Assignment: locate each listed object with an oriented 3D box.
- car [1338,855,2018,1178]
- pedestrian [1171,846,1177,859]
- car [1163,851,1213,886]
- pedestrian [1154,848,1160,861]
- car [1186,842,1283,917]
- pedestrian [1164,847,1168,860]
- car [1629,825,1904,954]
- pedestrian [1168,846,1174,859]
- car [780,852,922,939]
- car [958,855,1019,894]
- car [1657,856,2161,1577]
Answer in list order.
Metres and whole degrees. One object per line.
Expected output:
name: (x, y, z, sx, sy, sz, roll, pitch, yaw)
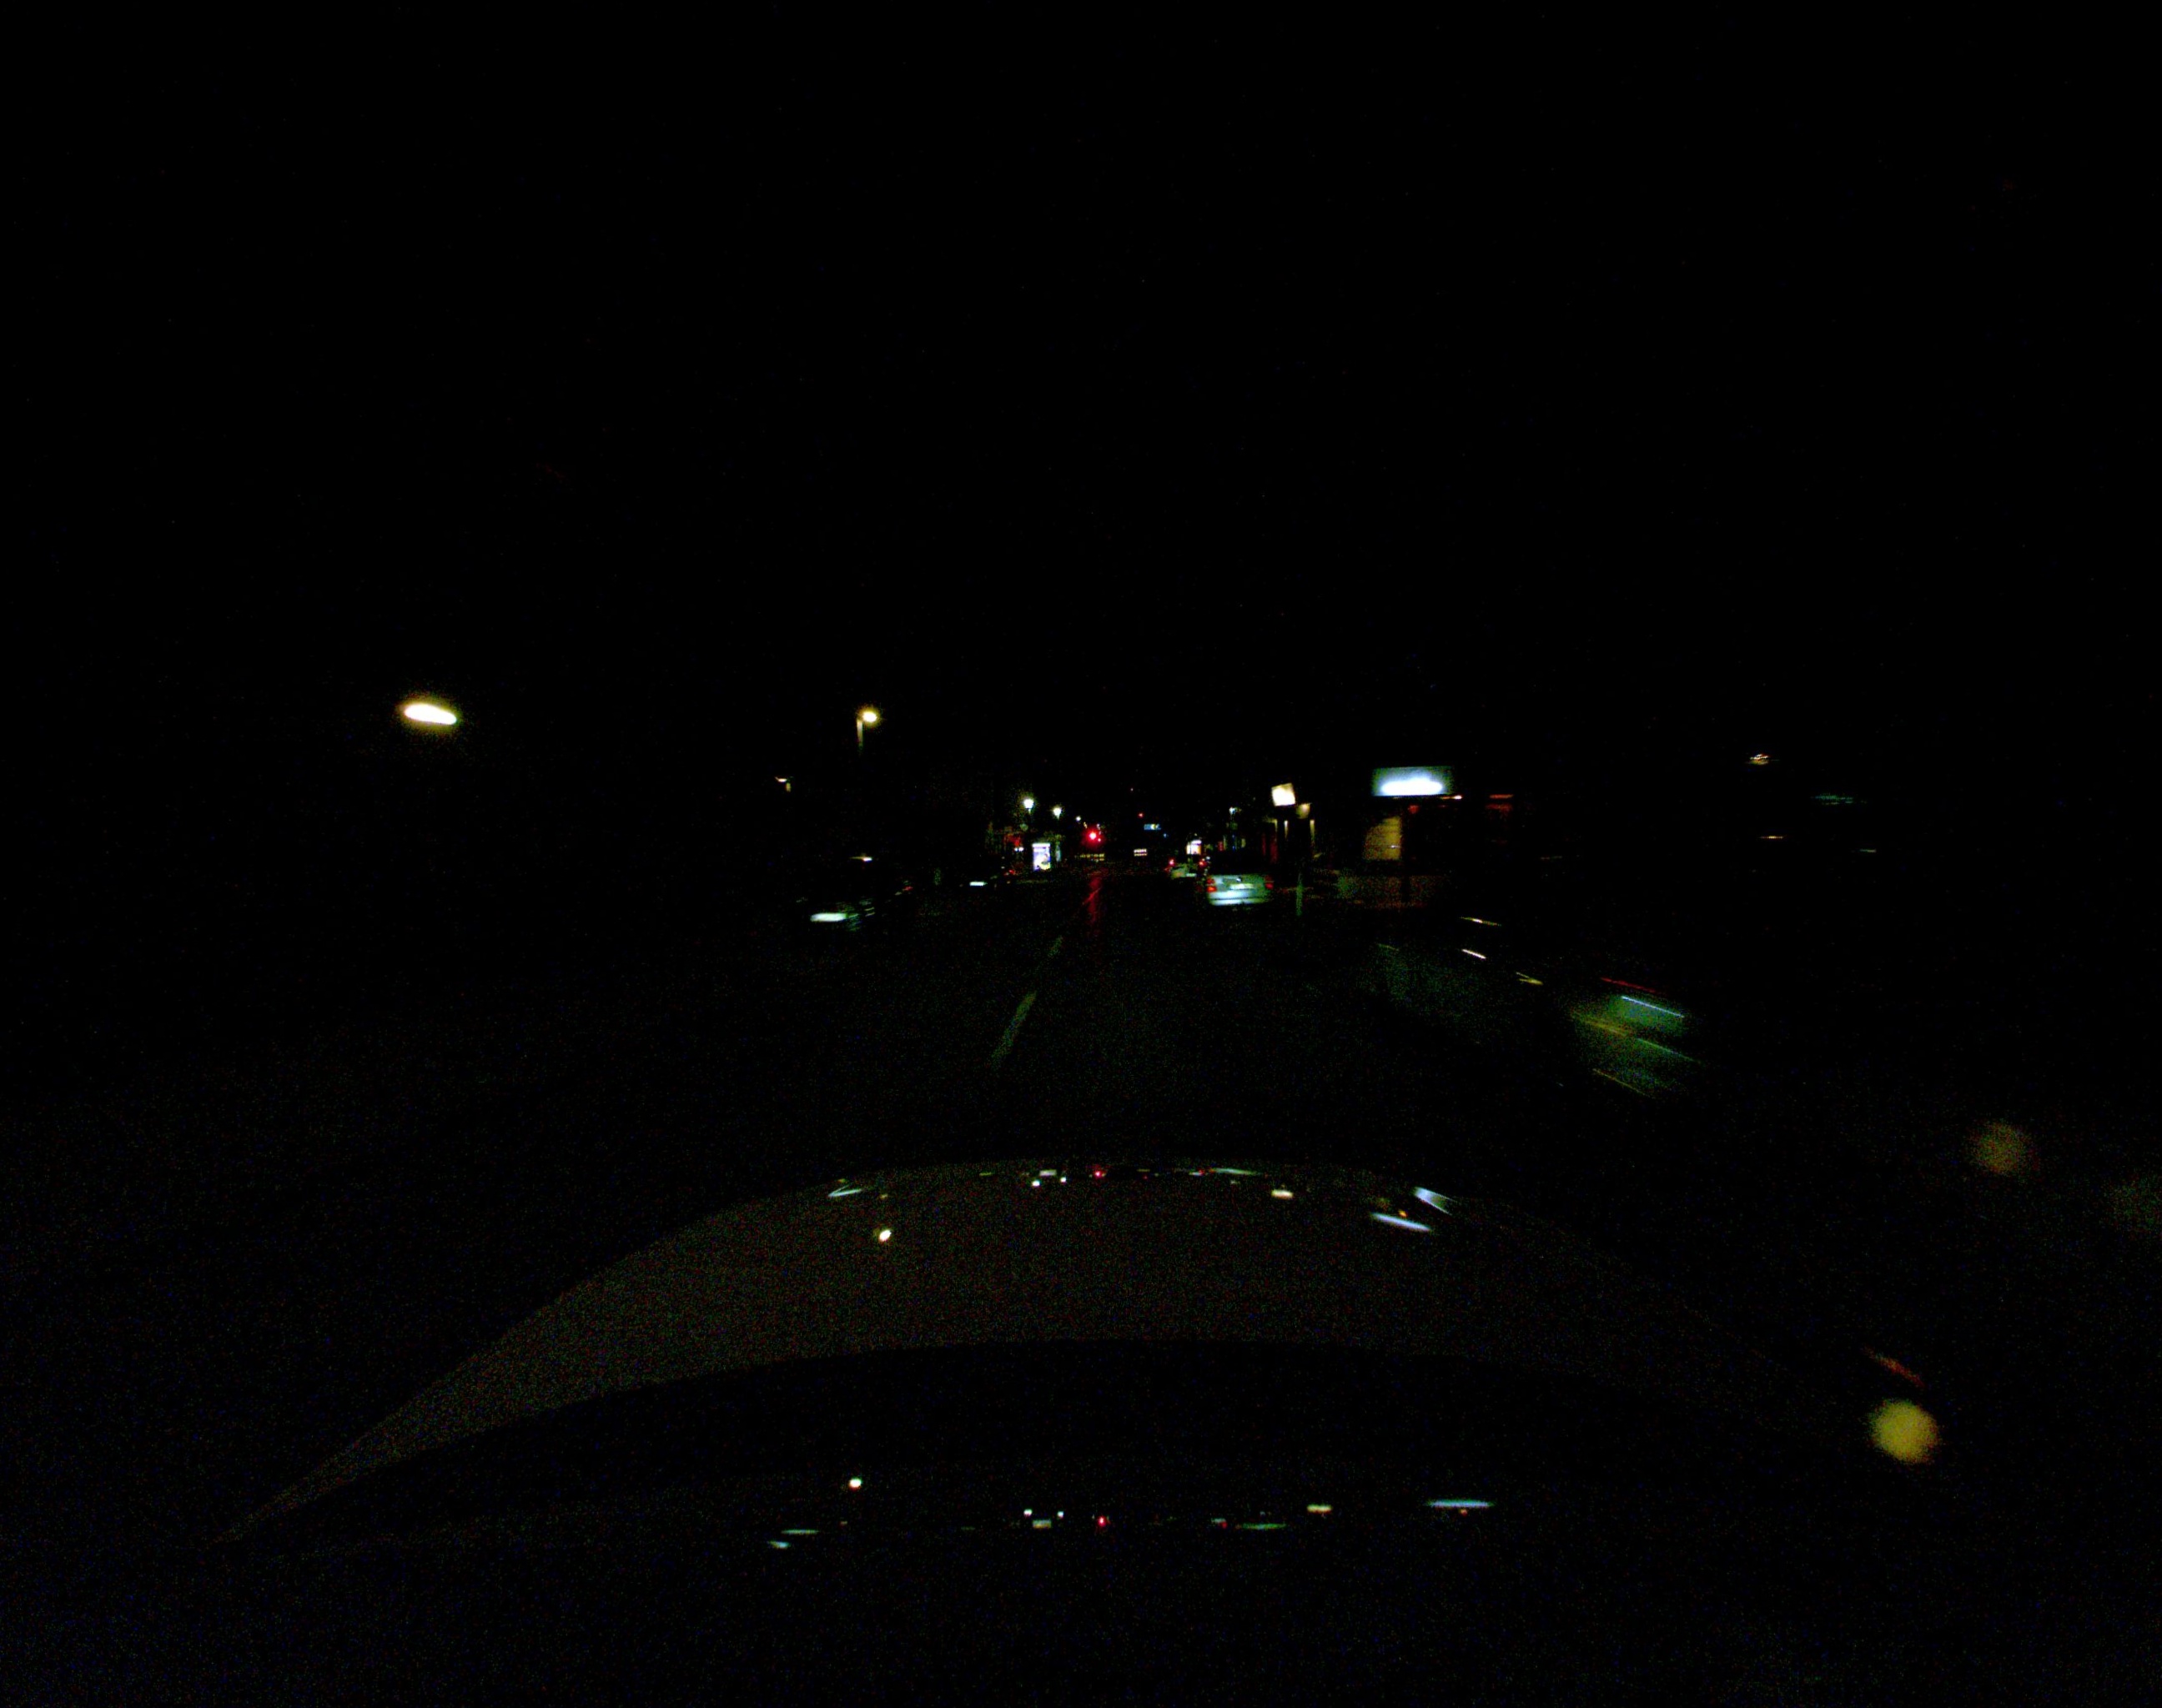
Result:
car: (3.380, 0.738, 5.826, 1.774, 1.437, 4.290, 0, 0, 1)
pedestrian: (12.959, -0.157, 113.545, 0.711, 1.795, 0.740, 0, -1, 14)
car: (4.791, 0.623, 37.019, 1.849, 1.442, 4.598, -3, 0, 3)
pedestrian: (10.490, 0.044, 112.930, 0.711, 1.795, 0.571, 0, -1, 14)
car: (3.804, 0.588, 20.870, 1.780, 1.641, 4.383, -3, 0, 3)
pedestrian: (11.911, -0.079, 114.250, 0.565, 1.795, 0.718, 0, -1, 2)
car: (10.023, 0.416, 11.863, 4.080, 1.585, 1.691, -1, 0, -29)
pedestrian: (12.618, -0.264, 114.110, 0.569, 1.795, 0.714, 0, -1, -18)
car: (-4.392, 0.759, 16.112, 1.686, 1.524, 3.691, 0, -1, 1)
car: (-3.719, 0.774, 33.324, 1.684, 1.436, 4.133, 1, 0, 5)
car: (2.964, 0.741, 0.913, 1.669, 1.447, 4.617, 0, 0, 4)
